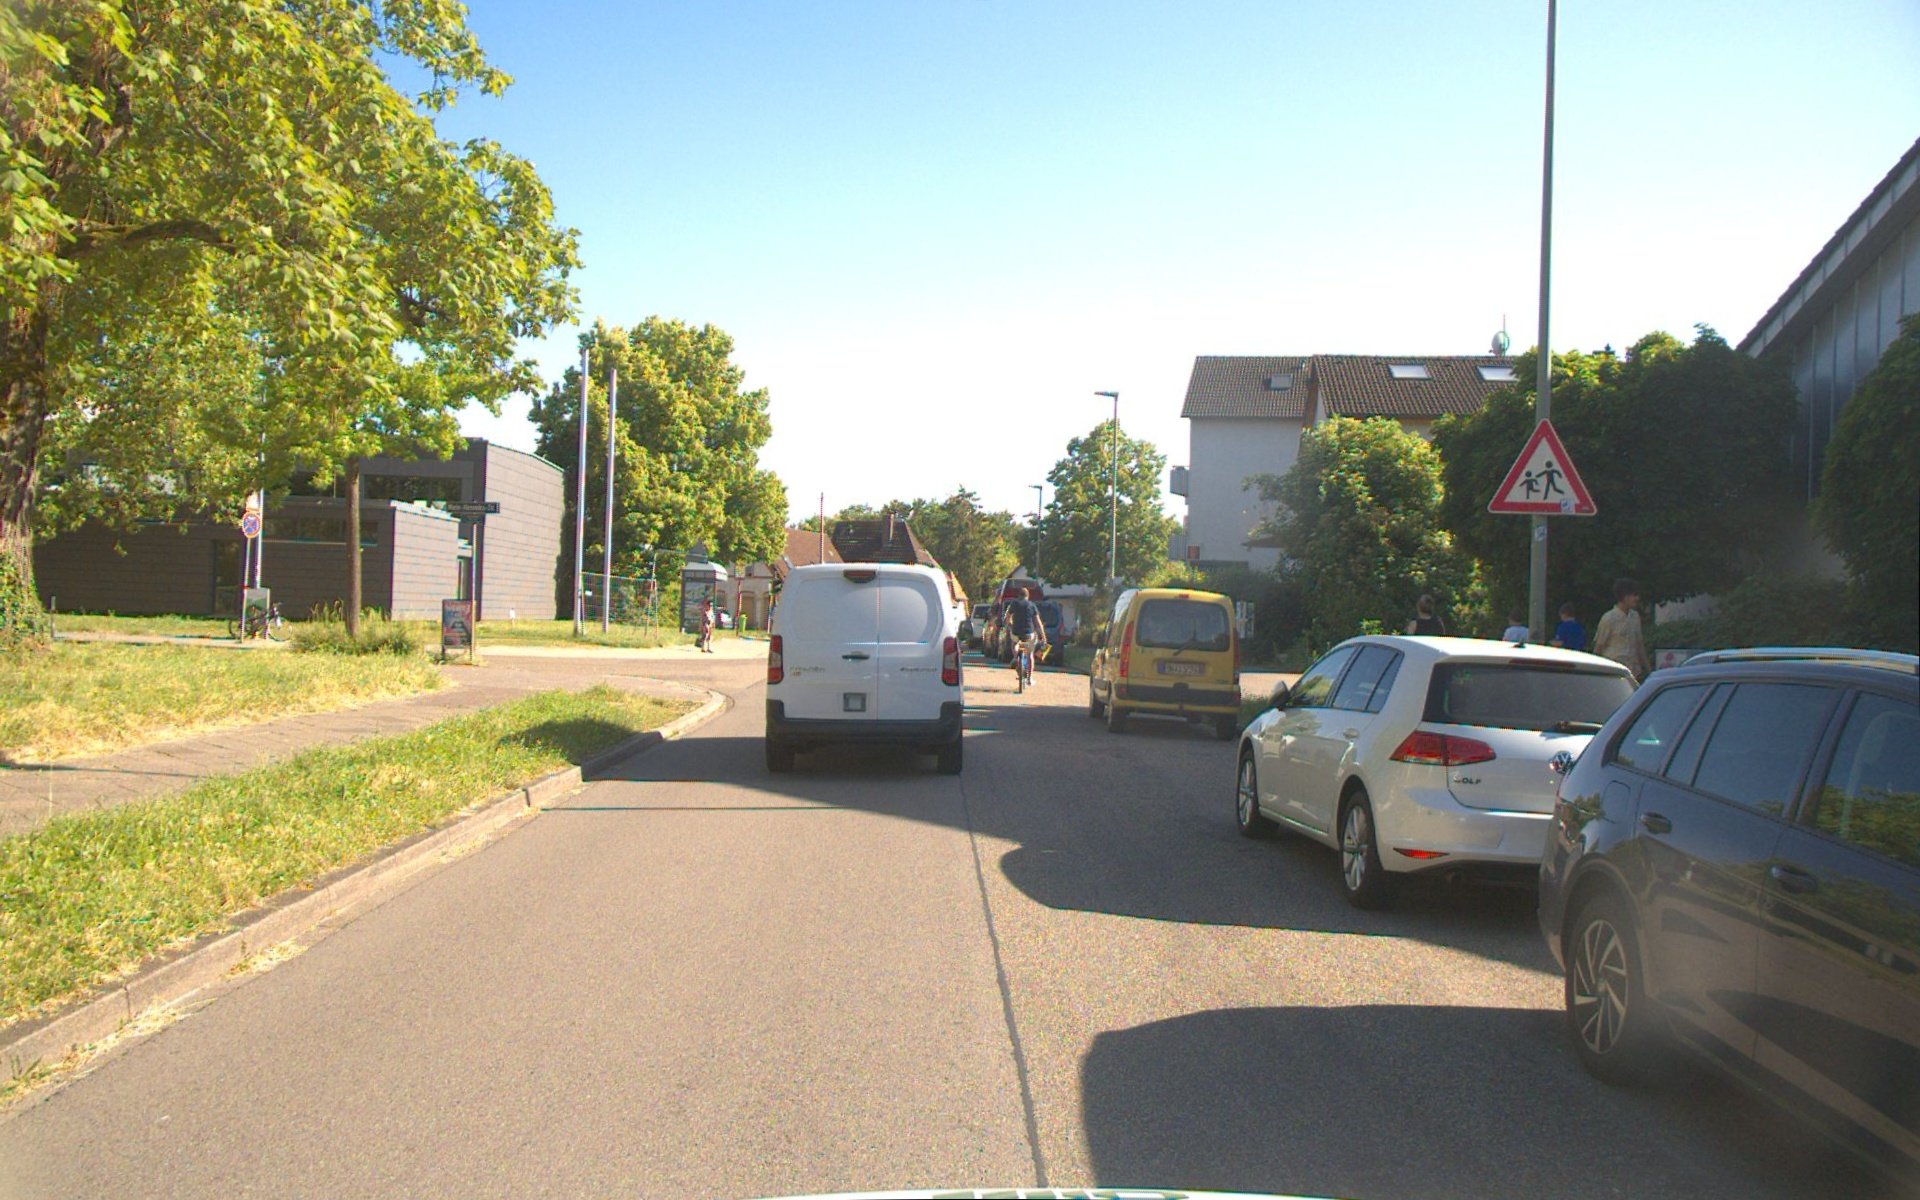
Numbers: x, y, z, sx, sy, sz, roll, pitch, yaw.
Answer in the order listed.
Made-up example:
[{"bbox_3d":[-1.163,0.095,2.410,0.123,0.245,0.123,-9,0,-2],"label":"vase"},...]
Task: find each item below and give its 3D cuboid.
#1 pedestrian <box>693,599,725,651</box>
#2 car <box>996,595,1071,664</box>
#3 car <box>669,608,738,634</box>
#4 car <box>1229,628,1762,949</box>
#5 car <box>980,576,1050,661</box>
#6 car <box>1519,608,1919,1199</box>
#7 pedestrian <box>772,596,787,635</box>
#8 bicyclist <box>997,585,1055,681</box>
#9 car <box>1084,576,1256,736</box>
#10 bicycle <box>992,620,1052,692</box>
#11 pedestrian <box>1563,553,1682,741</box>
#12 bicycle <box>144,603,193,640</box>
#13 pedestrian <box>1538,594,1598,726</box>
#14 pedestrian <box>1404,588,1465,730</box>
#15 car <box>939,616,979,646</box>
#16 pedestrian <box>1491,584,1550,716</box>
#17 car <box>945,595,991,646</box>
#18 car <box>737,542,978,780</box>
[{"bbox_3d":[-7.358,0.743,48.476,0.500,1.470,0.637,4,-1,32],"label":"pedestrian"},{"bbox_3d":[2.108,0.854,48.434,1.768,1.816,3.997,4,-1,-3],"label":"car"},{"bbox_3d":[-16.101,1.330,103.784,3.893,1.454,1.716,2,-1,17],"label":"car"},{"bbox_3d":[2.970,0.966,10.135,1.790,1.477,3.998,2,-1,-3],"label":"car"},{"bbox_3d":[1.797,0.641,55.608,1.829,2.607,4.764,4,-1,-3],"label":"car"},{"bbox_3d":[3.109,0.801,4.244,1.771,1.468,4.362,2,0,-1],"label":"car"},{"bbox_3d":[-8.602,0.753,78.741,0.608,1.836,0.640,2,-2,-3],"label":"pedestrian"},{"bbox_3d":[1.150,0.580,28.966,0.887,1.612,0.966,2,-1,-3],"label":"bicyclist"},{"bbox_3d":[2.684,0.692,21.929,1.689,1.869,3.999,2,-1,0],"label":"car"},{"bbox_3d":[1.062,0.956,28.996,0.771,1.158,2.278,3,-1,-4],"label":"bicycle"},{"bbox_3d":[6.913,0.483,17.294,0.779,1.894,0.873,2,-1,-9],"label":"pedestrian"},{"bbox_3d":[-19.670,0.526,41.096,0.432,0.903,1.012,1,1,44],"label":"bicycle"},{"bbox_3d":[7.838,0.760,21.329,0.555,1.665,0.547,2,0,4],"label":"pedestrian"},{"bbox_3d":[5.713,0.702,19.930,0.555,1.665,0.547,2,0,4],"label":"pedestrian"},{"bbox_3d":[-0.019,2.113,112.576,1.766,1.874,4.003,4,-1,13],"label":"car"},{"bbox_3d":[7.228,0.633,21.350,0.555,1.665,0.547,2,0,4],"label":"pedestrian"},{"bbox_3d":[0.349,0.931,74.803,1.768,2.105,3.997,4,-1,-3],"label":"car"},{"bbox_3d":[-0.836,0.514,16.038,1.953,1.914,4.289,2,0,1],"label":"car"}]
